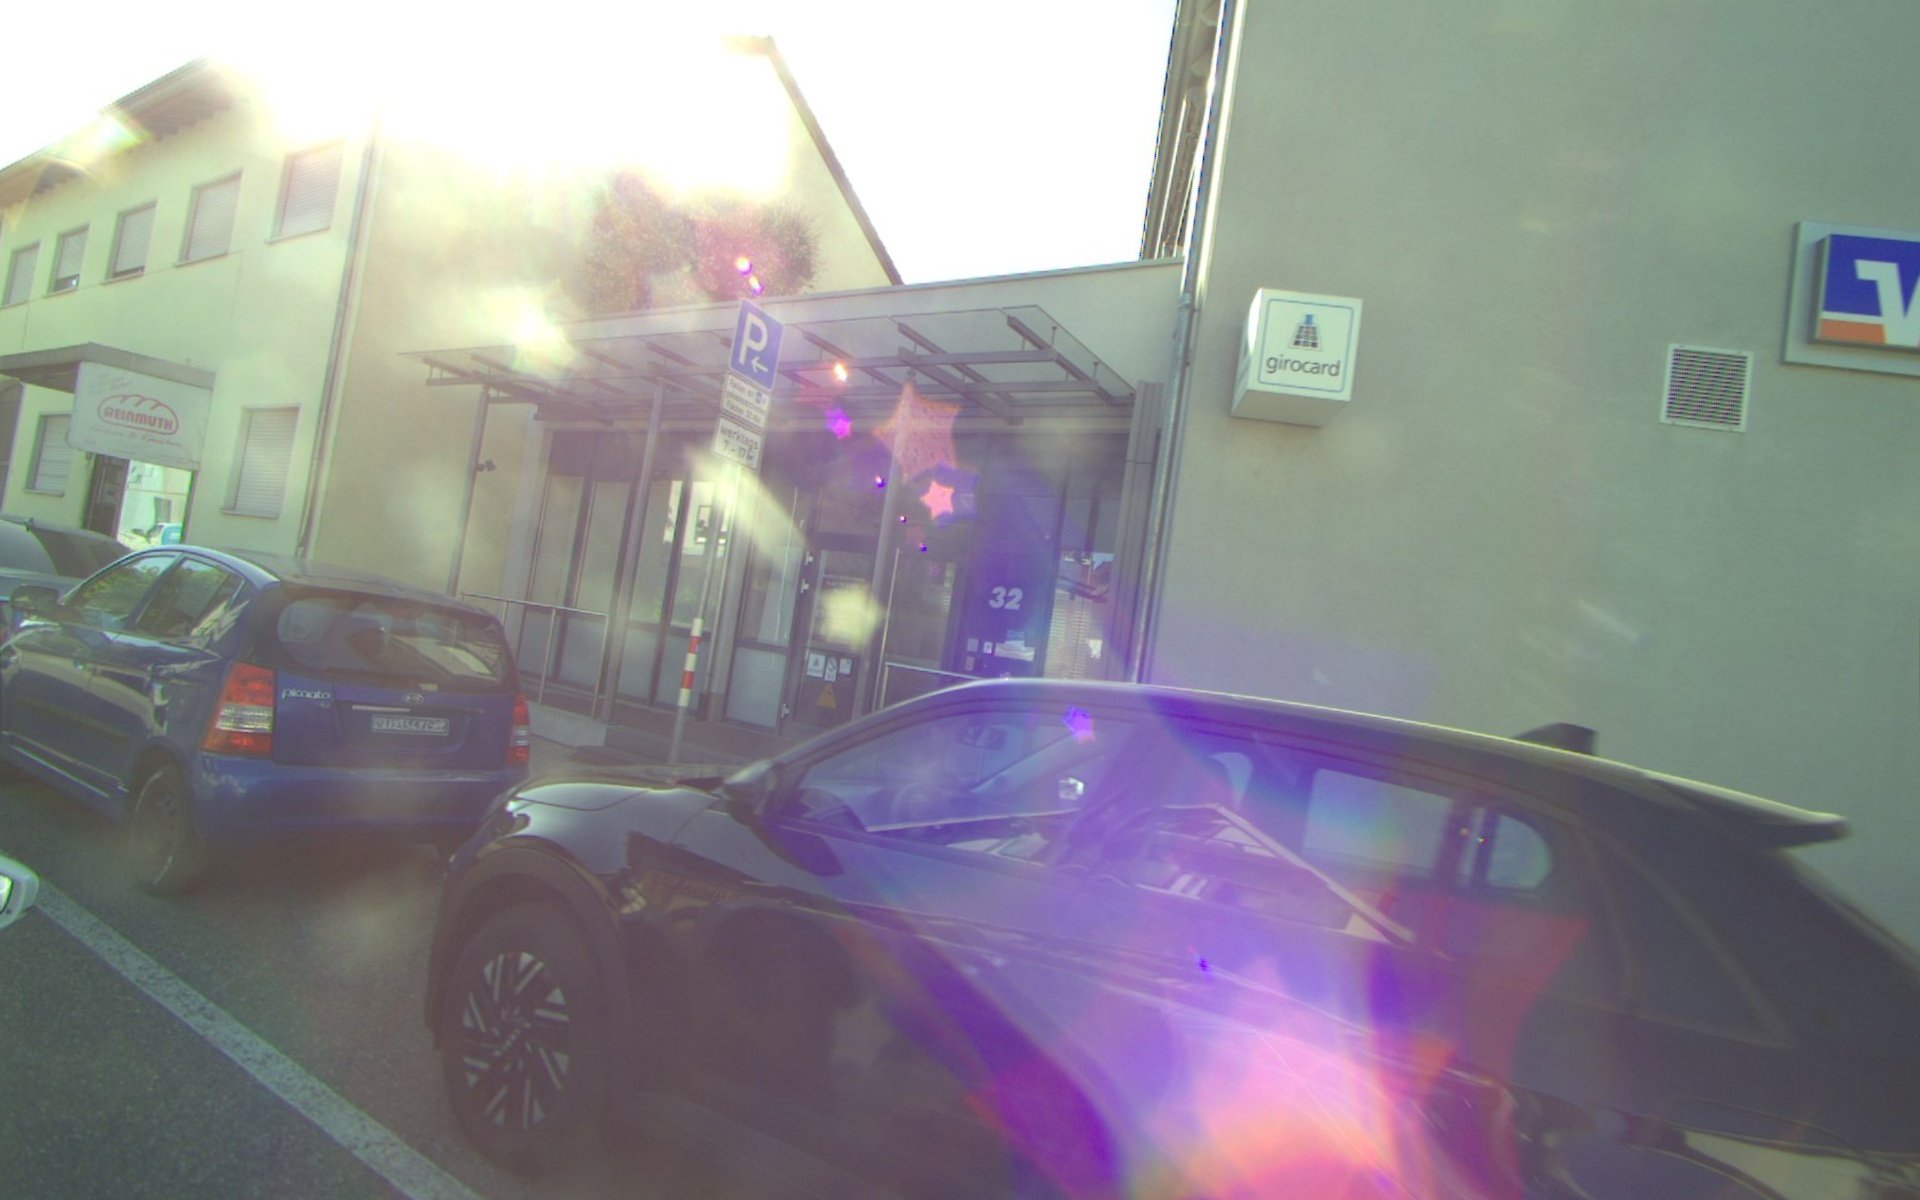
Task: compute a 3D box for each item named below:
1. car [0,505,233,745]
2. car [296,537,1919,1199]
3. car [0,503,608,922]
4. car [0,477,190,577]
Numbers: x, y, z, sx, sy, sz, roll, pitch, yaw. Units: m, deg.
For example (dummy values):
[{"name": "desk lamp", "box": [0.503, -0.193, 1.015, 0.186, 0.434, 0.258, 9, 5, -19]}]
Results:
[{"name": "car", "box": [-7.859, -0.029, 7.940, 4.372, 1.490, 1.814, 7, -5, 33]}, {"name": "car", "box": [0.155, 0.899, 2.770, 3.905, 1.536, 1.616, 7, -5, 31]}, {"name": "car", "box": [-4.050, 0.454, 5.696, 3.812, 1.490, 1.731, 7, -5, 33]}, {"name": "car", "box": [-22.393, -1.861, 24.922, 1.875, 1.908, 4.775, 8, -1, 27]}]
